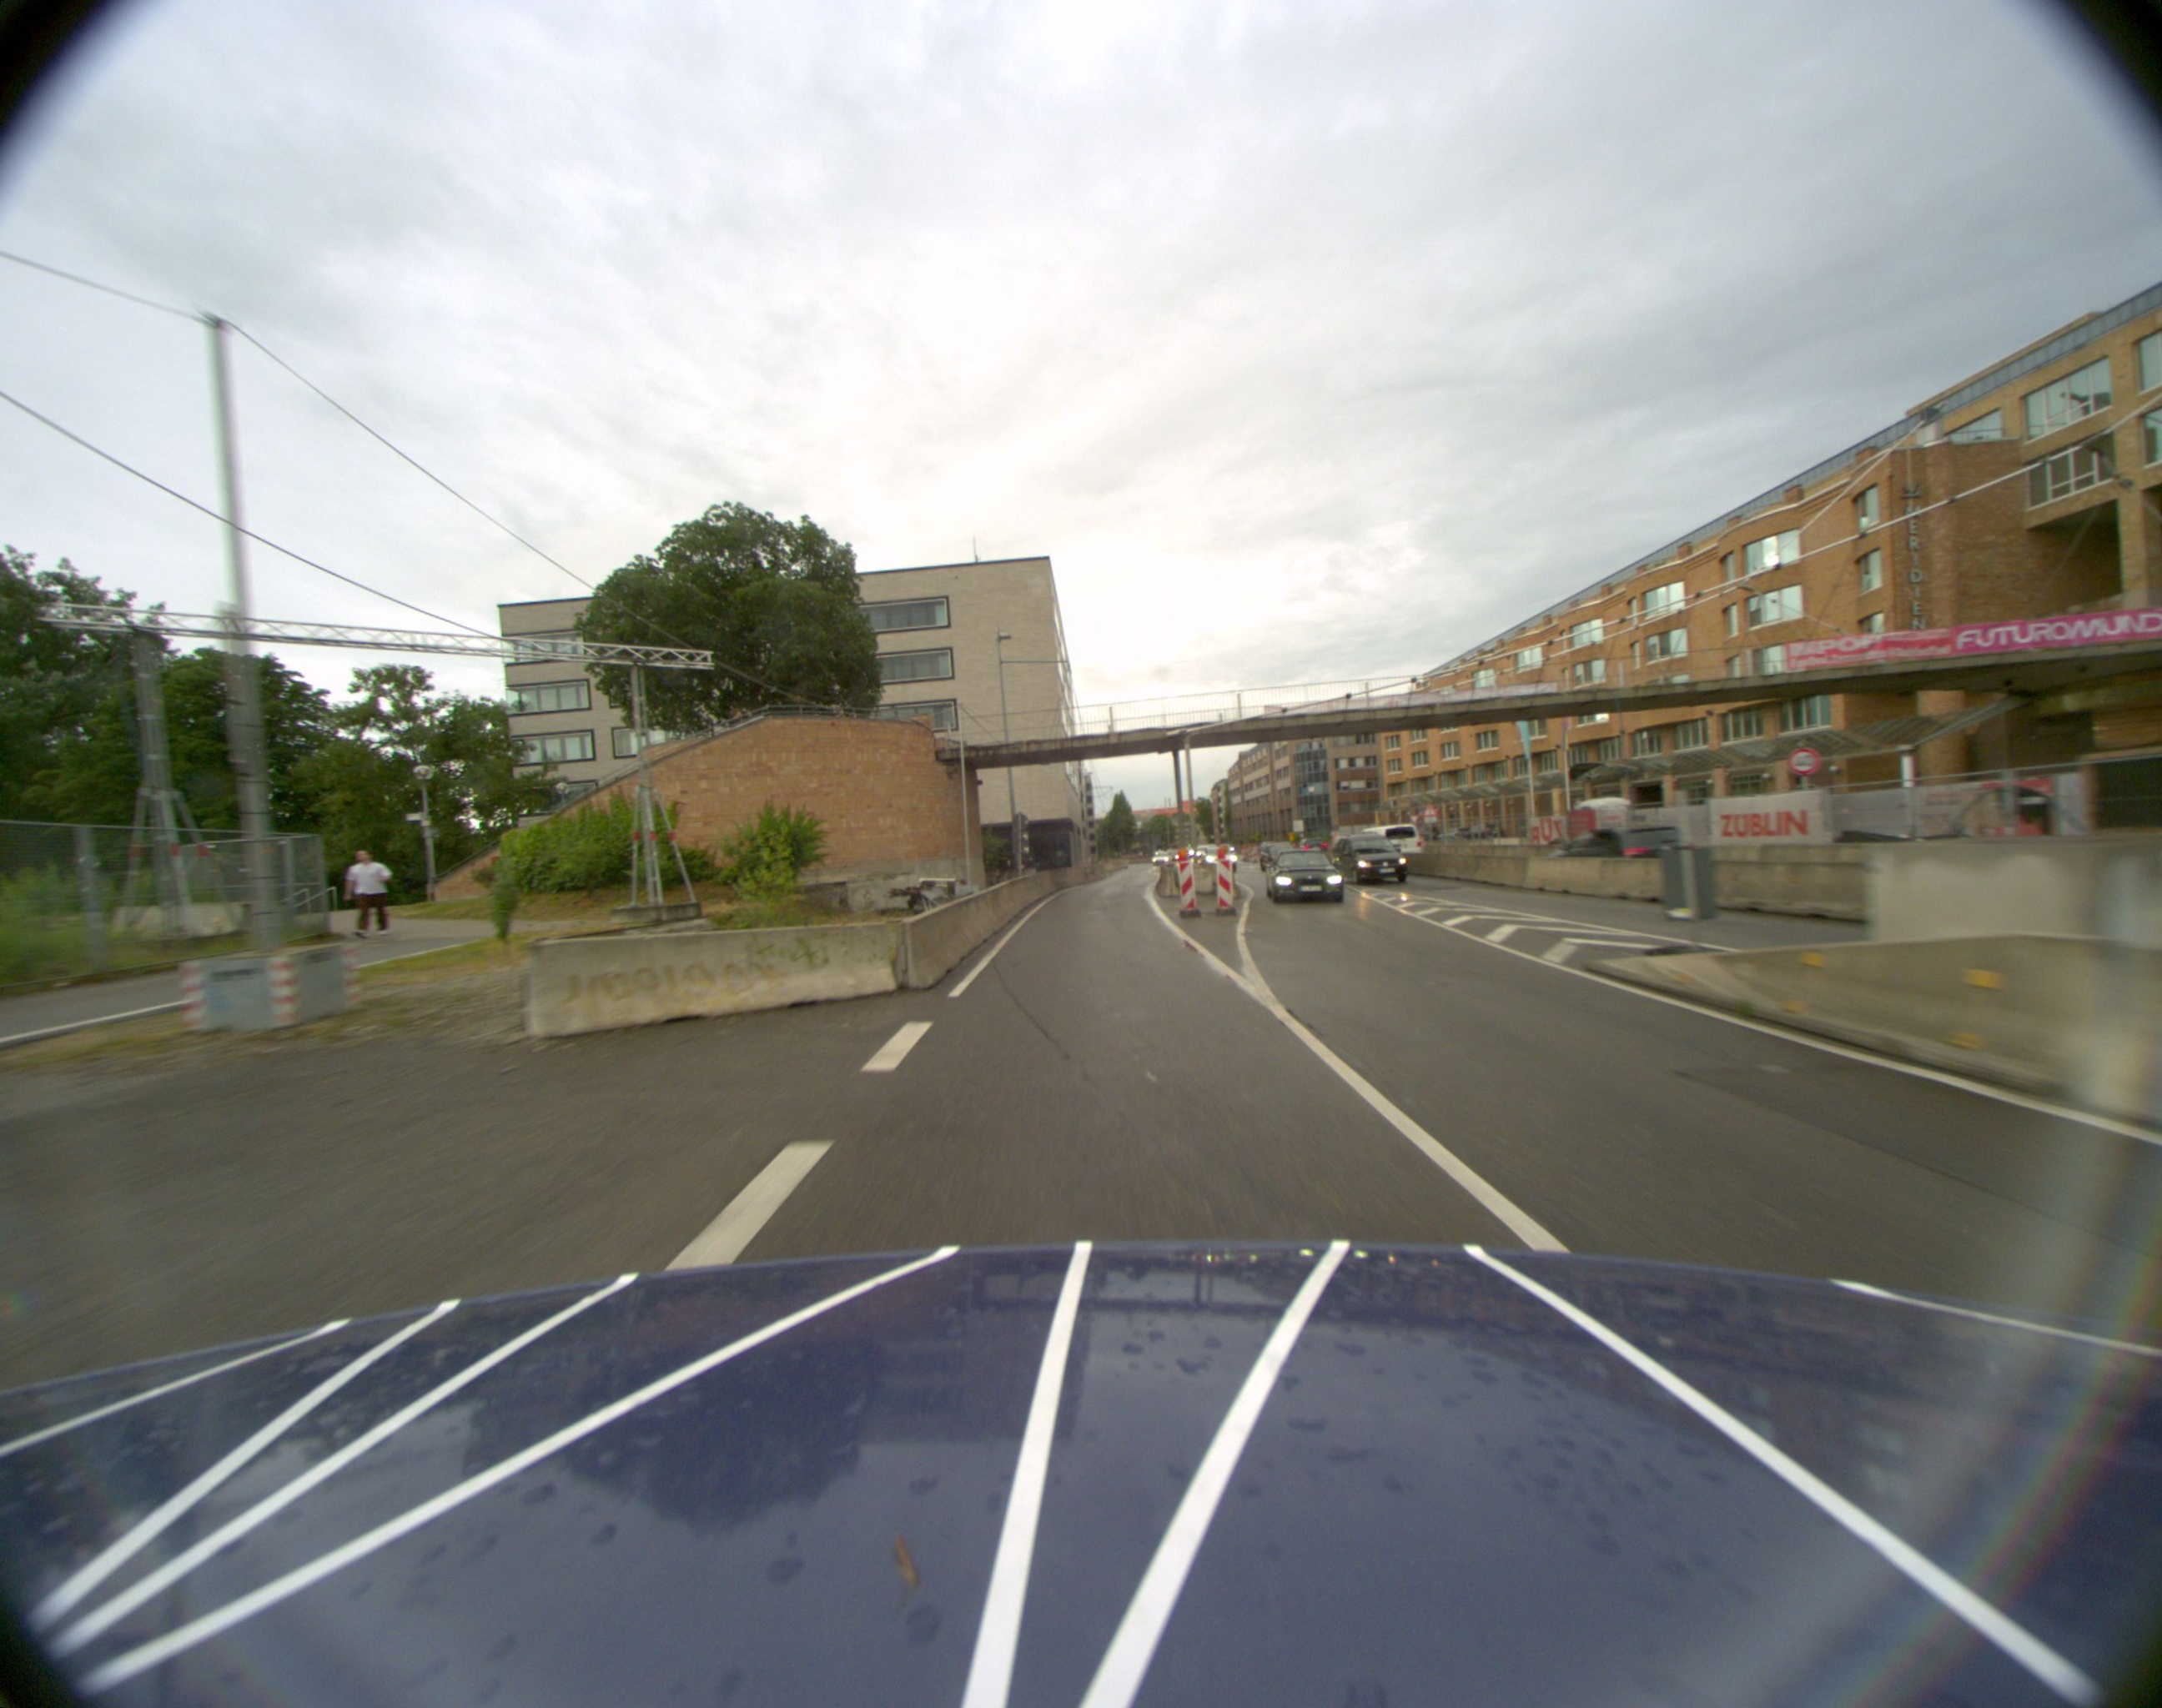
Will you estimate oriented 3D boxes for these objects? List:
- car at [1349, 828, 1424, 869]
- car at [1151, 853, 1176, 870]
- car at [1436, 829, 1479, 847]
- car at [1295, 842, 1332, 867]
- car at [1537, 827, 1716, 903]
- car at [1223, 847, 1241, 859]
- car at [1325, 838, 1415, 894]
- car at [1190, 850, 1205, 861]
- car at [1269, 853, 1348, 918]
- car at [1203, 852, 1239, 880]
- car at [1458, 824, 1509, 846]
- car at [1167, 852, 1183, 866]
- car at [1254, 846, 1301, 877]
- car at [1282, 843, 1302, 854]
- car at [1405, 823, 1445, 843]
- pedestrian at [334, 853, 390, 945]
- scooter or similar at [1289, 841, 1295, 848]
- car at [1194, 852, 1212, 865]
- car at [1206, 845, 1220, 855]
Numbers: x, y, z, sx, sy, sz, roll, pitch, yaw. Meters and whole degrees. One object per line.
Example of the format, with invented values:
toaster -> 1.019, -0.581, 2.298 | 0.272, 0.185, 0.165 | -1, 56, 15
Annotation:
car -> 15.184, -0.247, 38.071 | 1.810, 1.810, 5.302 | -4, -1, 3
car -> 9.129, 0.808, 84.069 | 1.770, 1.524, 4.661 | -4, 0, 17
car -> 36.788, -1.549, 74.436 | 1.998, 1.584, 4.540 | -4, 0, 2
car -> 16.950, 0.015, 55.569 | 1.809, 1.614, 3.904 | -4, 1, 5
car -> 13.600, 0.269, 19.283 | 1.809, 1.613, 4.036 | -4, -1, 5
car -> 22.011, -0.113, 111.180 | 1.772, 1.524, 4.657 | -5, 0, 2
car -> 10.527, 0.398, 28.012 | 1.798, 1.790, 4.251 | -5, 0, 3
car -> 18.732, 0.251, 122.343 | 1.772, 1.524, 4.657 | -5, 0, 2
car -> 6.202, 0.794, 21.123 | 1.770, 1.435, 4.660 | -4, 0, 14
car -> 8.809, 0.727, 48.107 | 1.771, 1.524, 4.658 | -4, 0, 5
car -> 36.503, -1.712, 69.090 | 1.998, 1.681, 5.050 | -4, 0, 2
car -> 11.726, 0.653, 94.880 | 1.771, 1.524, 4.658 | -4, 0, 6
car -> 11.276, 0.408, 43.875 | 1.772, 1.524, 4.357 | -5, 0, 4
car -> 29.755, -0.759, 107.257 | 1.764, 1.517, 4.365 | -3, 0, 4
car -> 36.836, -2.222, 81.496 | 1.998, 1.875, 5.014 | -4, 0, 0
pedestrian -> -14.590, 0.897, 15.441 | 0.693, 1.768, 0.813 | -5, 2, -42
scooter or similar -> 33.474, -1.480, 120.355 | 0.450, 1.056, 1.044 | -4, 0, -9
car -> 16.241, 0.628, 101.181 | 1.772, 1.524, 4.657 | -5, 0, 2
car -> 27.093, -0.834, 156.193 | 1.998, 1.874, 4.870 | -4, 0, 1
